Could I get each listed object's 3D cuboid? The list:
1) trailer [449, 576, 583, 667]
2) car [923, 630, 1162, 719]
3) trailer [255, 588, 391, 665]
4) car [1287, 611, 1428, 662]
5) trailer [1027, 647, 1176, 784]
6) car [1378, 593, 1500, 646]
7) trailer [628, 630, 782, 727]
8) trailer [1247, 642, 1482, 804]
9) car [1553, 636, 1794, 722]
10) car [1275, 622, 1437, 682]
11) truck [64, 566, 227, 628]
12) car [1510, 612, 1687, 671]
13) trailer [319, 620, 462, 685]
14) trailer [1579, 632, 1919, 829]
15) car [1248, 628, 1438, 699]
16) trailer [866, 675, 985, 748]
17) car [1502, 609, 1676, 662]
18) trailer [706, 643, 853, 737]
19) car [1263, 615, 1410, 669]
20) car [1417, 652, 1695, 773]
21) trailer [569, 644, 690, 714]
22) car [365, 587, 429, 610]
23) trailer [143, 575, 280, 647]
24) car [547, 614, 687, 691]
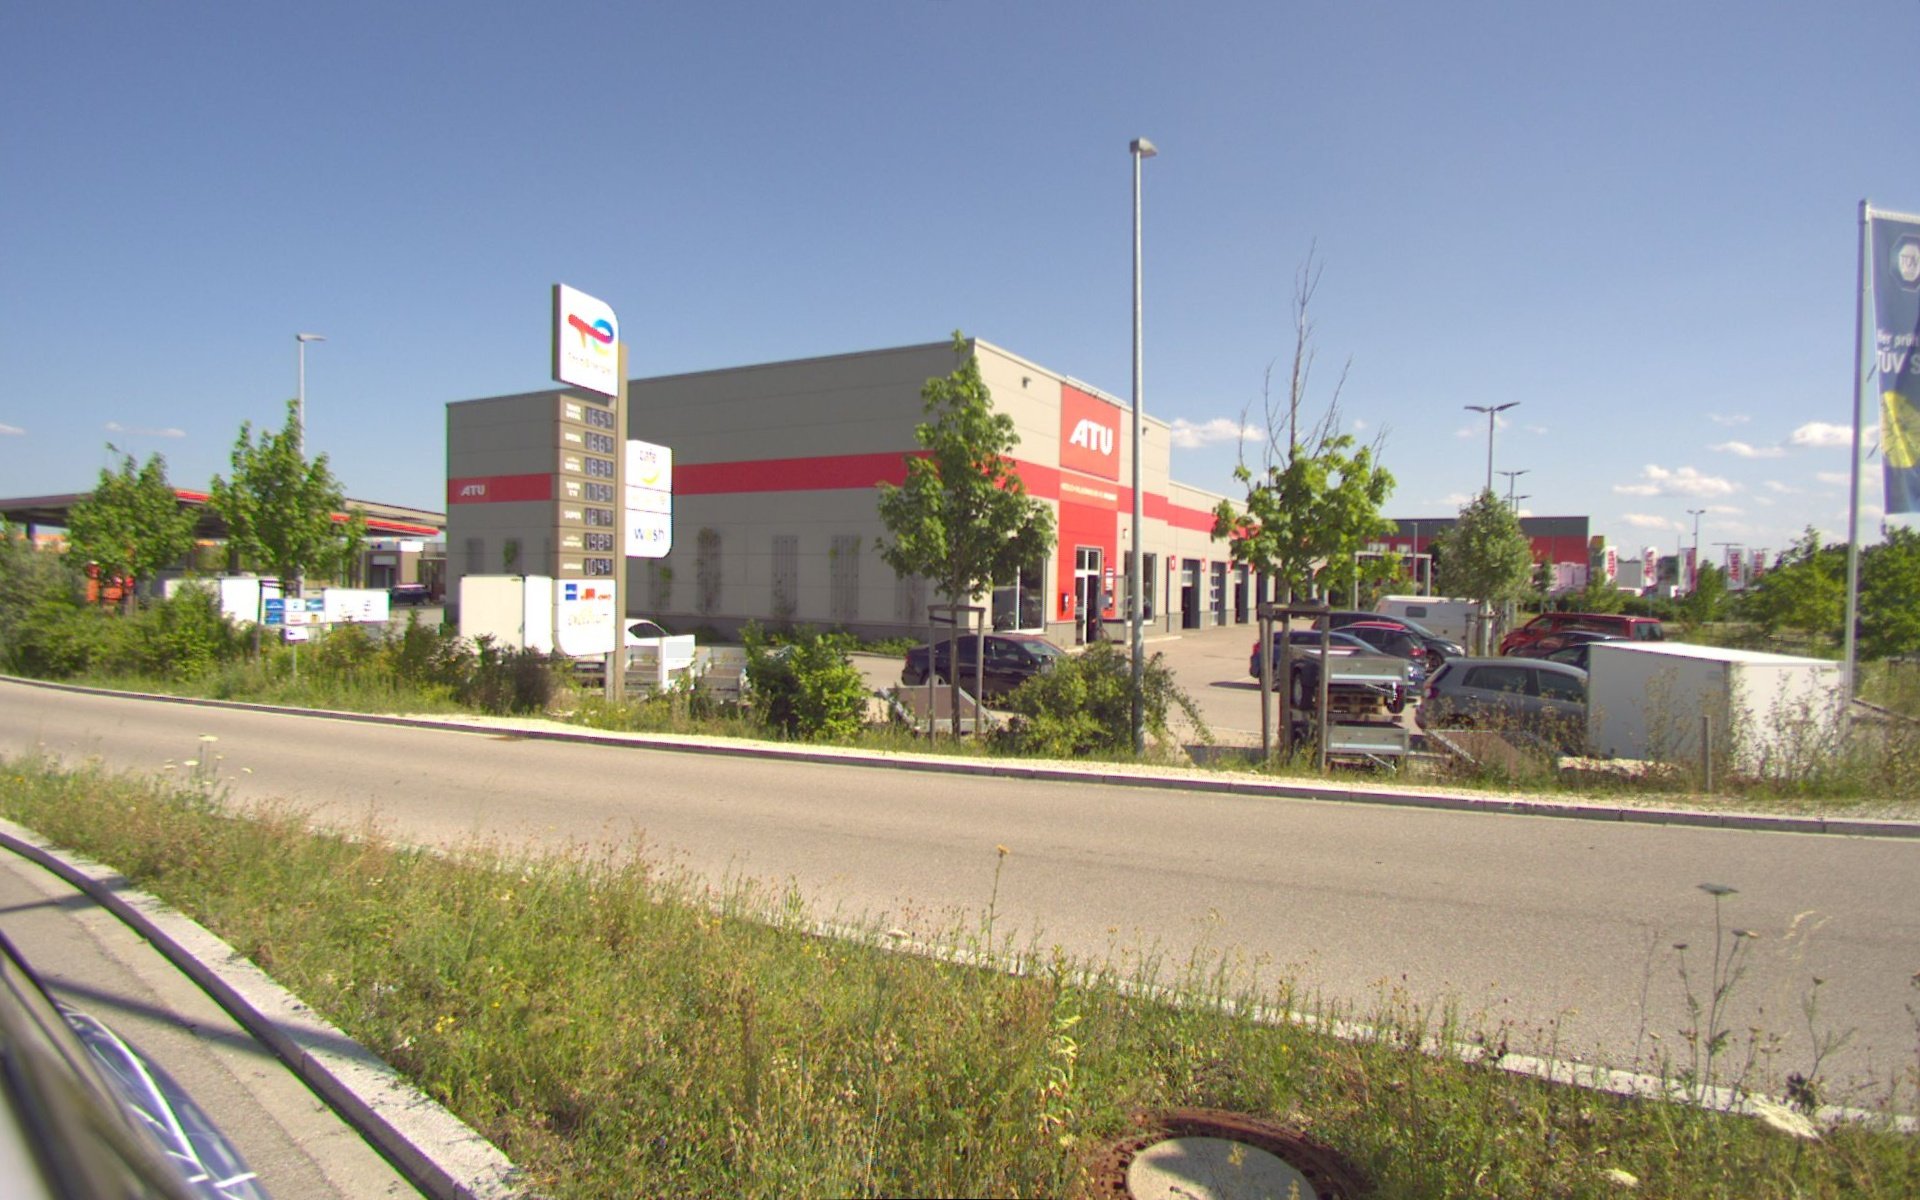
[{"bbox_3d":[-10.593,0.459,24.383,1.724,2.029,3.238,0,1,2],"label":"trailer"},{"bbox_3d":[1.588,1.406,20.275,4.486,1.495,1.783,0,1,34],"label":"car"},{"bbox_3d":[-17.779,0.694,28.375,1.976,2.029,2.732,0,1,6],"label":"trailer"},{"bbox_3d":[12.876,1.146,32.835,3.990,1.475,1.804,0,1,34],"label":"car"},{"bbox_3d":[2.033,1.650,15.503,1.684,1.462,3.698,0,3,-1],"label":"trailer"},{"bbox_3d":[19.289,0.759,40.814,4.332,2.029,1.884,0,1,30],"label":"car"},{"bbox_3d":[-4.631,1.373,18.814,1.533,1.495,3.179,0,1,12],"label":"trailer"},{"bbox_3d":[5.515,1.596,14.345,1.782,1.785,3.697,0,1,-1],"label":"trailer"},{"bbox_3d":[15.854,1.699,22.735,1.794,1.475,4.014,2,1,-25],"label":"car"},{"bbox_3d":[11.186,1.416,28.677,3.990,1.475,1.804,0,1,34],"label":"car"},{"bbox_3d":[-46.502,-0.223,58.034,2.624,3.343,6.854,0,1,22],"label":"truck"},{"bbox_3d":[18.425,1.147,29.408,1.794,1.475,4.013,-1,1,-25],"label":"car"},{"bbox_3d":[-15.289,1.362,27.381,1.580,1.521,3.594,-1,1,6],"label":"trailer"},{"bbox_3d":[9.720,1.440,12.514,1.782,1.785,3.698,-1,2,-1],"label":"trailer"},{"bbox_3d":[8.976,1.435,23.752,3.983,1.475,1.807,0,-2,29],"label":"car"},{"bbox_3d":[-0.520,1.838,17.118,1.841,0.888,2.837,0,1,1],"label":"trailer"},{"bbox_3d":[19.948,1.074,32.330,1.794,1.475,4.470,-1,1,-25],"label":"car"},{"bbox_3d":[-3.113,1.521,17.918,1.378,1.332,2.895,0,1,17],"label":"trailer"},{"bbox_3d":[11.627,1.249,31.321,3.990,1.475,1.804,0,1,34],"label":"car"},{"bbox_3d":[9.600,1.729,16.511,3.731,1.563,1.725,0,1,32],"label":"car"},{"bbox_3d":[-6.235,1.462,19.342,1.303,1.094,2.773,0,1,3],"label":"trailer"},{"bbox_3d":[-39.664,-0.108,71.353,1.694,1.586,3.637,0,1,39],"label":"car"},{"bbox_3d":[-22.581,0.293,30.679,1.969,2.029,3.211,-1,1,-6],"label":"trailer"},{"bbox_3d":[-7.887,1.154,23.663,1.697,1.548,3.995,0,1,4],"label":"car"}]
